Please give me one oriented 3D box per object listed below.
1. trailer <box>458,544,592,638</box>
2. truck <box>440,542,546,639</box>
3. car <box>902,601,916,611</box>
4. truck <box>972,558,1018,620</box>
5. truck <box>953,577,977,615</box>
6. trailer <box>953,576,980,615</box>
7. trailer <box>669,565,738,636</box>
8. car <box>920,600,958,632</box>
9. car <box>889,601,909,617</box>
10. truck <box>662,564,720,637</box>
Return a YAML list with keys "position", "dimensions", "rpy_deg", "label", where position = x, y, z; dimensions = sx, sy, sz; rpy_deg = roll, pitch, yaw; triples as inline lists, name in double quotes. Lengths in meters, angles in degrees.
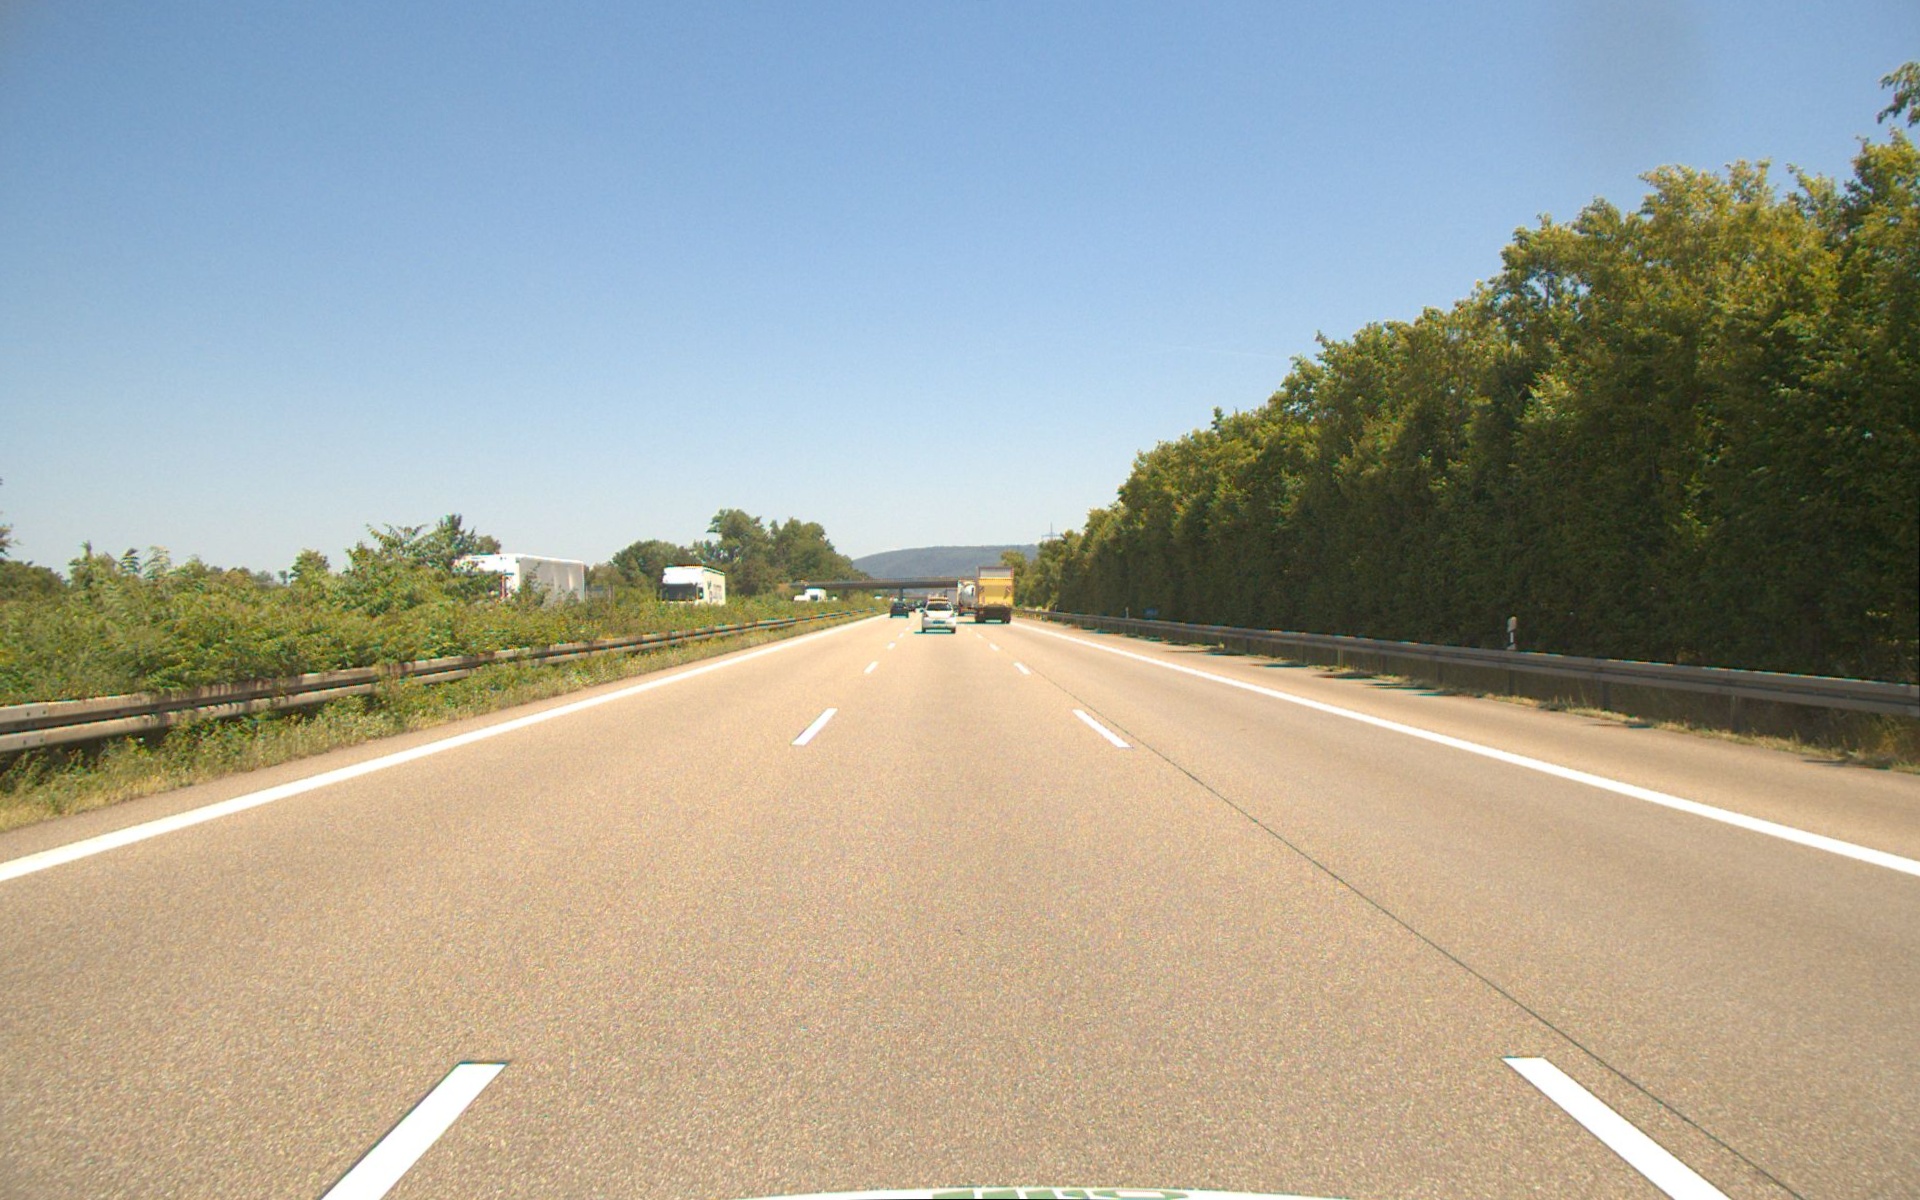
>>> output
- position: [-20.985, -0.377, 80.988]
  dimensions: [2.895, 4.129, 14.322]
  rpy_deg: [1, 0, -1]
  label: "trailer"
- position: [-20.891, -0.391, 74.304]
  dimensions: [2.892, 4.134, 6.537]
  rpy_deg: [1, 0, -1]
  label: "truck"
- position: [-7.095, 0.873, 230.744]
  dimensions: [1.798, 1.411, 3.999]
  rpy_deg: [1, 0, -1]
  label: "car"
- position: [2.496, -0.753, 122.337]
  dimensions: [2.874, 4.273, 10.678]
  rpy_deg: [1, 0, -1]
  label: "truck"
- position: [0.555, -0.440, 188.105]
  dimensions: [2.521, 4.143, 6.390]
  rpy_deg: [1, 0, -2]
  label: "truck"
- position: [0.680, -0.468, 182.761]
  dimensions: [2.528, 4.146, 11.099]
  rpy_deg: [1, 0, -1]
  label: "trailer"
- position: [-17.613, 0.064, 114.460]
  dimensions: [2.764, 4.605, 13.863]
  rpy_deg: [1, 0, -1]
  label: "trailer"
- position: [-1.022, 0.751, 80.804]
  dimensions: [1.770, 1.494, 3.999]
  rpy_deg: [1, 0, -1]
  label: "car"
- position: [-5.731, 0.856, 155.673]
  dimensions: [1.798, 1.411, 3.999]
  rpy_deg: [1, 0, -1]
  label: "car"
- position: [-17.520, 0.039, 108.051]
  dimensions: [2.764, 4.606, 6.537]
  rpy_deg: [1, 0, -1]
  label: "truck"
